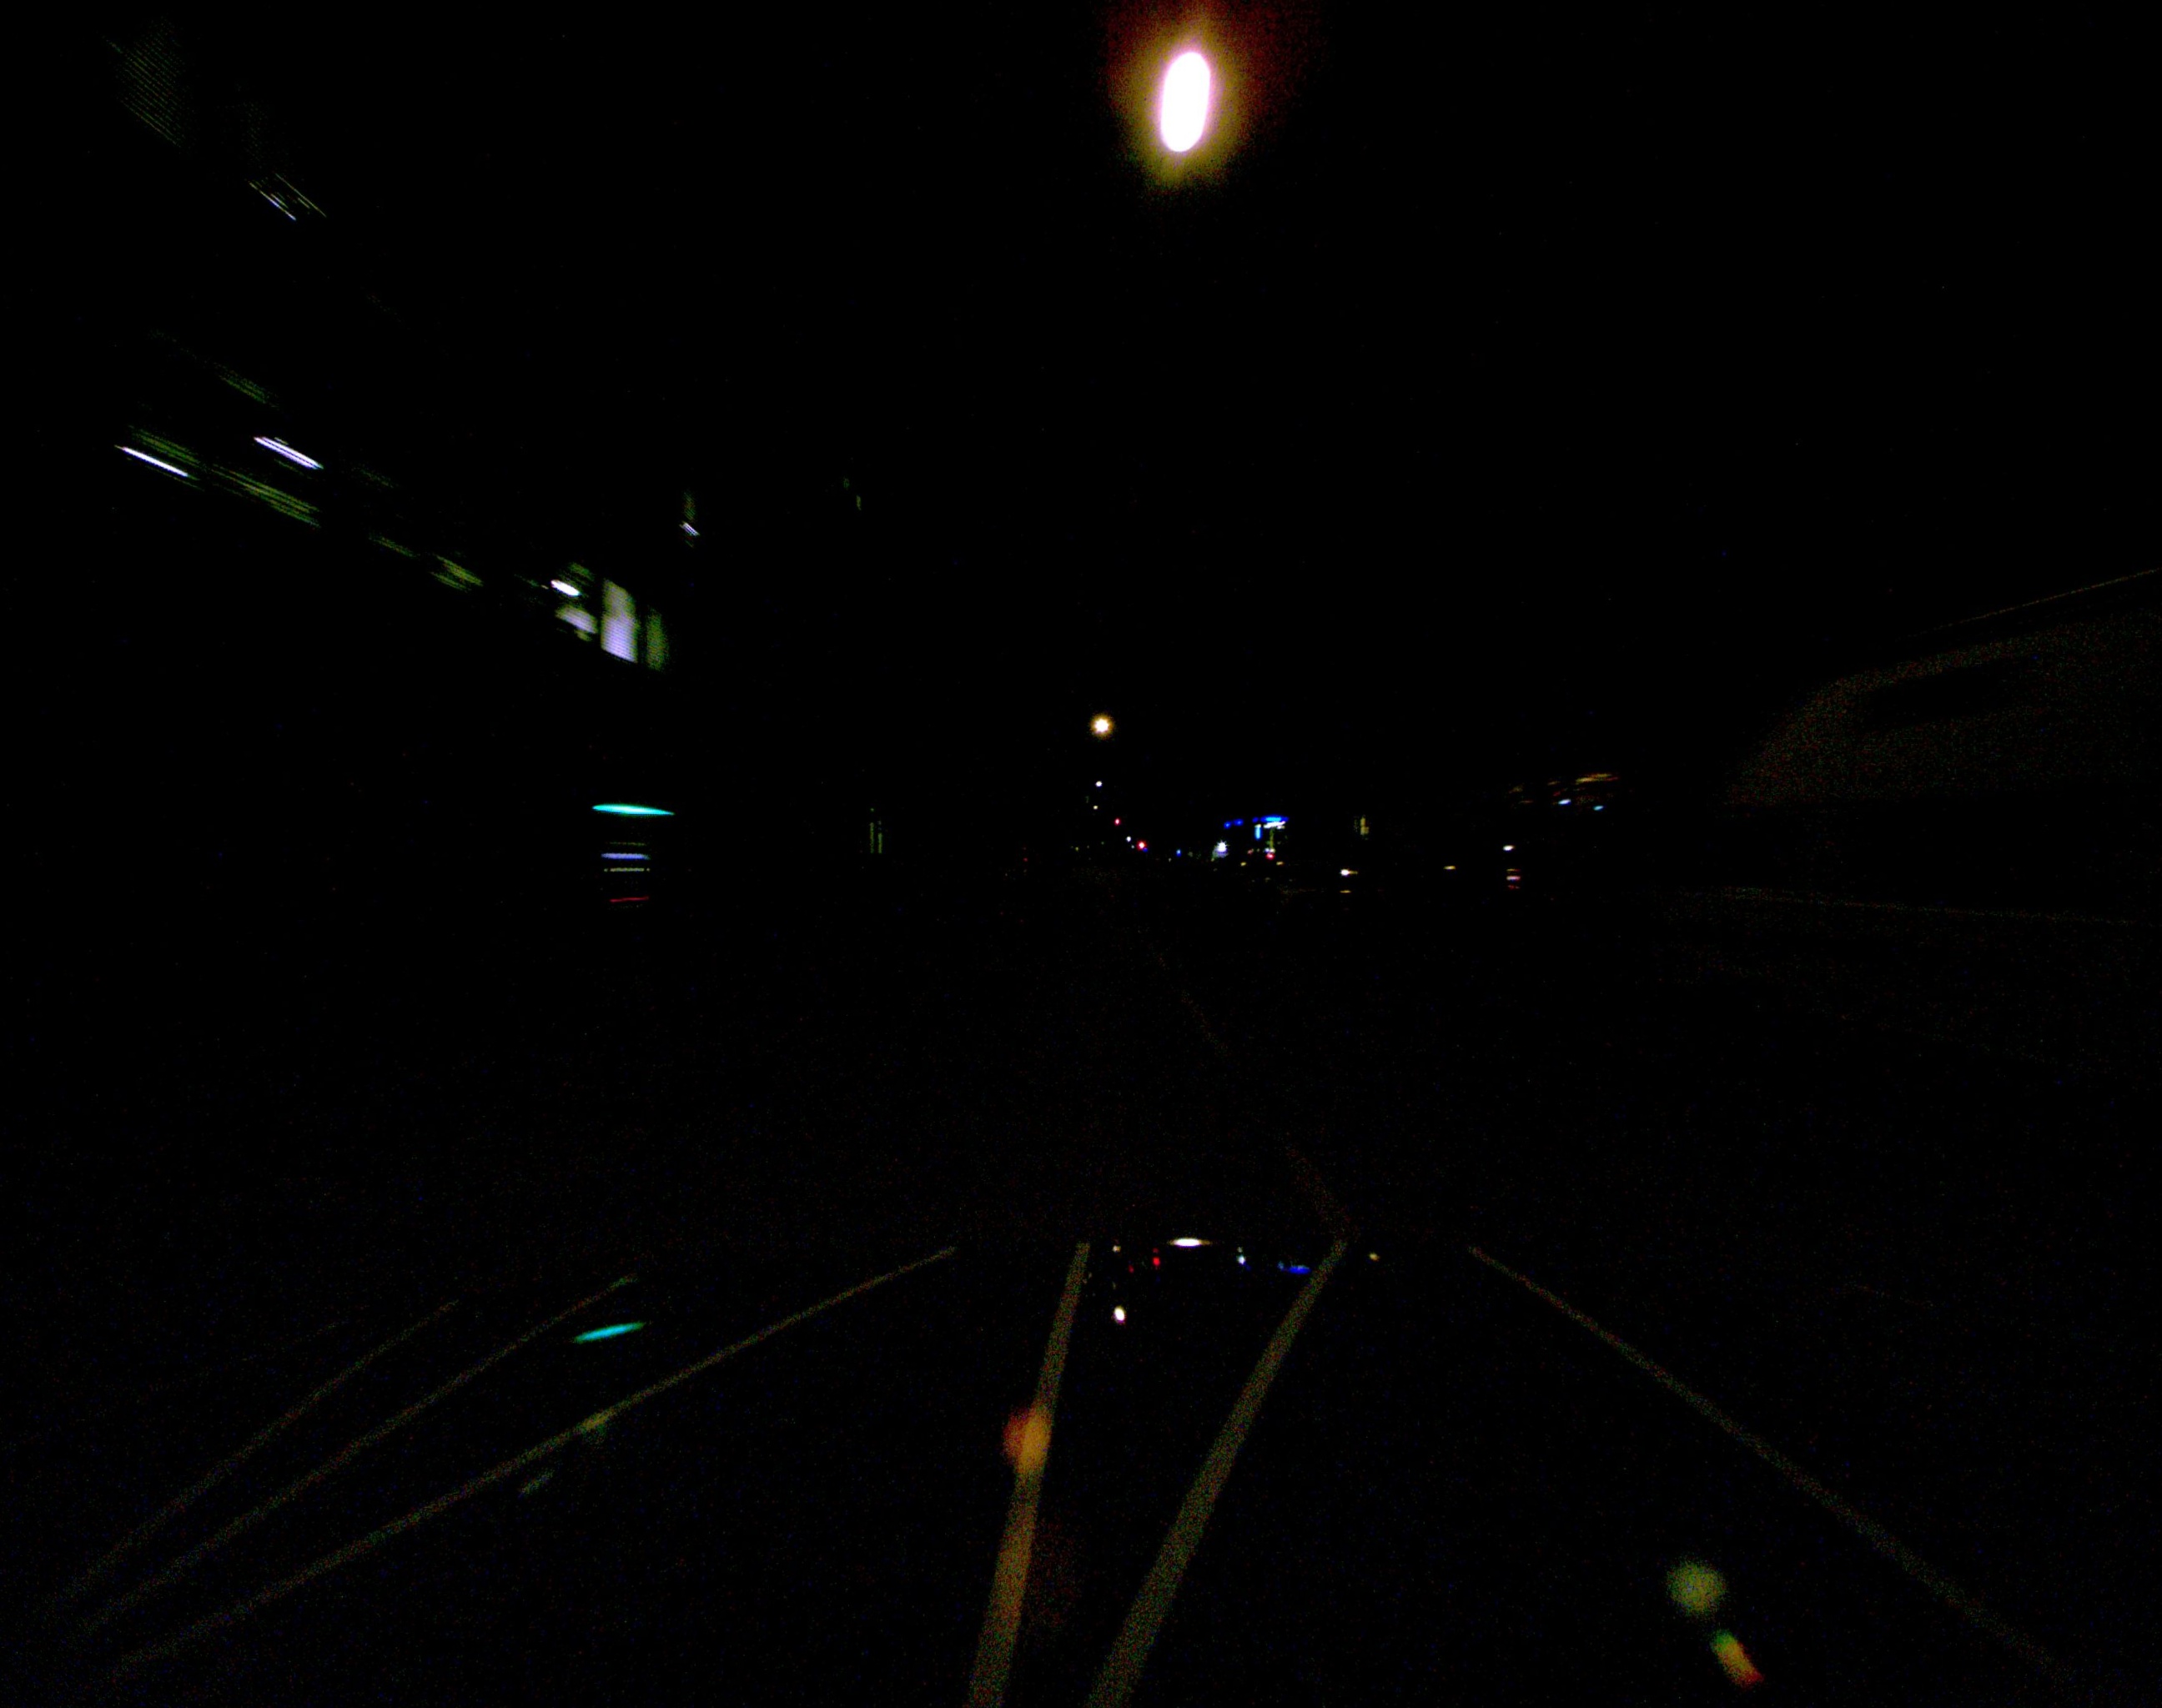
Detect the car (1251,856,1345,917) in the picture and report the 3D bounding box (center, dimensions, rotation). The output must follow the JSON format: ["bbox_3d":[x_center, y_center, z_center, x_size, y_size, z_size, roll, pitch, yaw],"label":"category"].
[{"bbox_3d":[5.830,0.826,20.782,1.551,1.447,3.368,-2,0,0],"label":"car"}]

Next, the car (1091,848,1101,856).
[{"bbox_3d":[3.141,-0.435,157.252,1.936,1.646,3.833,0,1,0],"label":"car"}]

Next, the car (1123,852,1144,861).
[{"bbox_3d":[9.794,0.472,142.881,3.763,1.577,1.634,0,1,-3],"label":"car"}]

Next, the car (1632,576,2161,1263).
[{"bbox_3d":[5.627,0.253,3.760,2.184,2.892,4.909,-2,0,0],"label":"car"}]

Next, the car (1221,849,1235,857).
[{"bbox_3d":[26.732,-0.163,137.880,1.732,1.469,4.086,-1,0,0],"label":"car"}]

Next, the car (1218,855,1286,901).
[{"bbox_3d":[5.939,0.777,26.829,1.448,1.421,3.903,-3,0,0],"label":"car"}]

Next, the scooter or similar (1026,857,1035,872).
[{"bbox_3d":[-4.201,0.844,63.011,0.548,1.196,1.911,2,-1,1],"label":"scooter or similar"}]

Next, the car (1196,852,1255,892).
[{"bbox_3d":[5.956,0.695,31.630,1.646,1.496,3.903,-2,0,0],"label":"car"}]

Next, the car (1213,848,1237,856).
[{"bbox_3d":[28.022,-0.360,147.906,4.281,1.469,1.730,-1,0,-27],"label":"car"}]

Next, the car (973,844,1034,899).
[{"bbox_3d":[-2.931,0.621,29.593,1.956,1.953,4.602,0,1,-1],"label":"car"}]

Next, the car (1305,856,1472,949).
[{"bbox_3d":[5.785,0.827,14.810,1.649,1.496,3.860,-1,1,0],"label":"car"}]

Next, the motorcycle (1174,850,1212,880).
[{"bbox_3d":[6.097,0.585,41.198,1.909,1.541,0.638,-2,1,-19],"label":"motorcycle"}]

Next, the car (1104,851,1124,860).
[{"bbox_3d":[6.557,0.282,152.917,3.848,1.781,1.634,0,1,-3],"label":"car"}]
